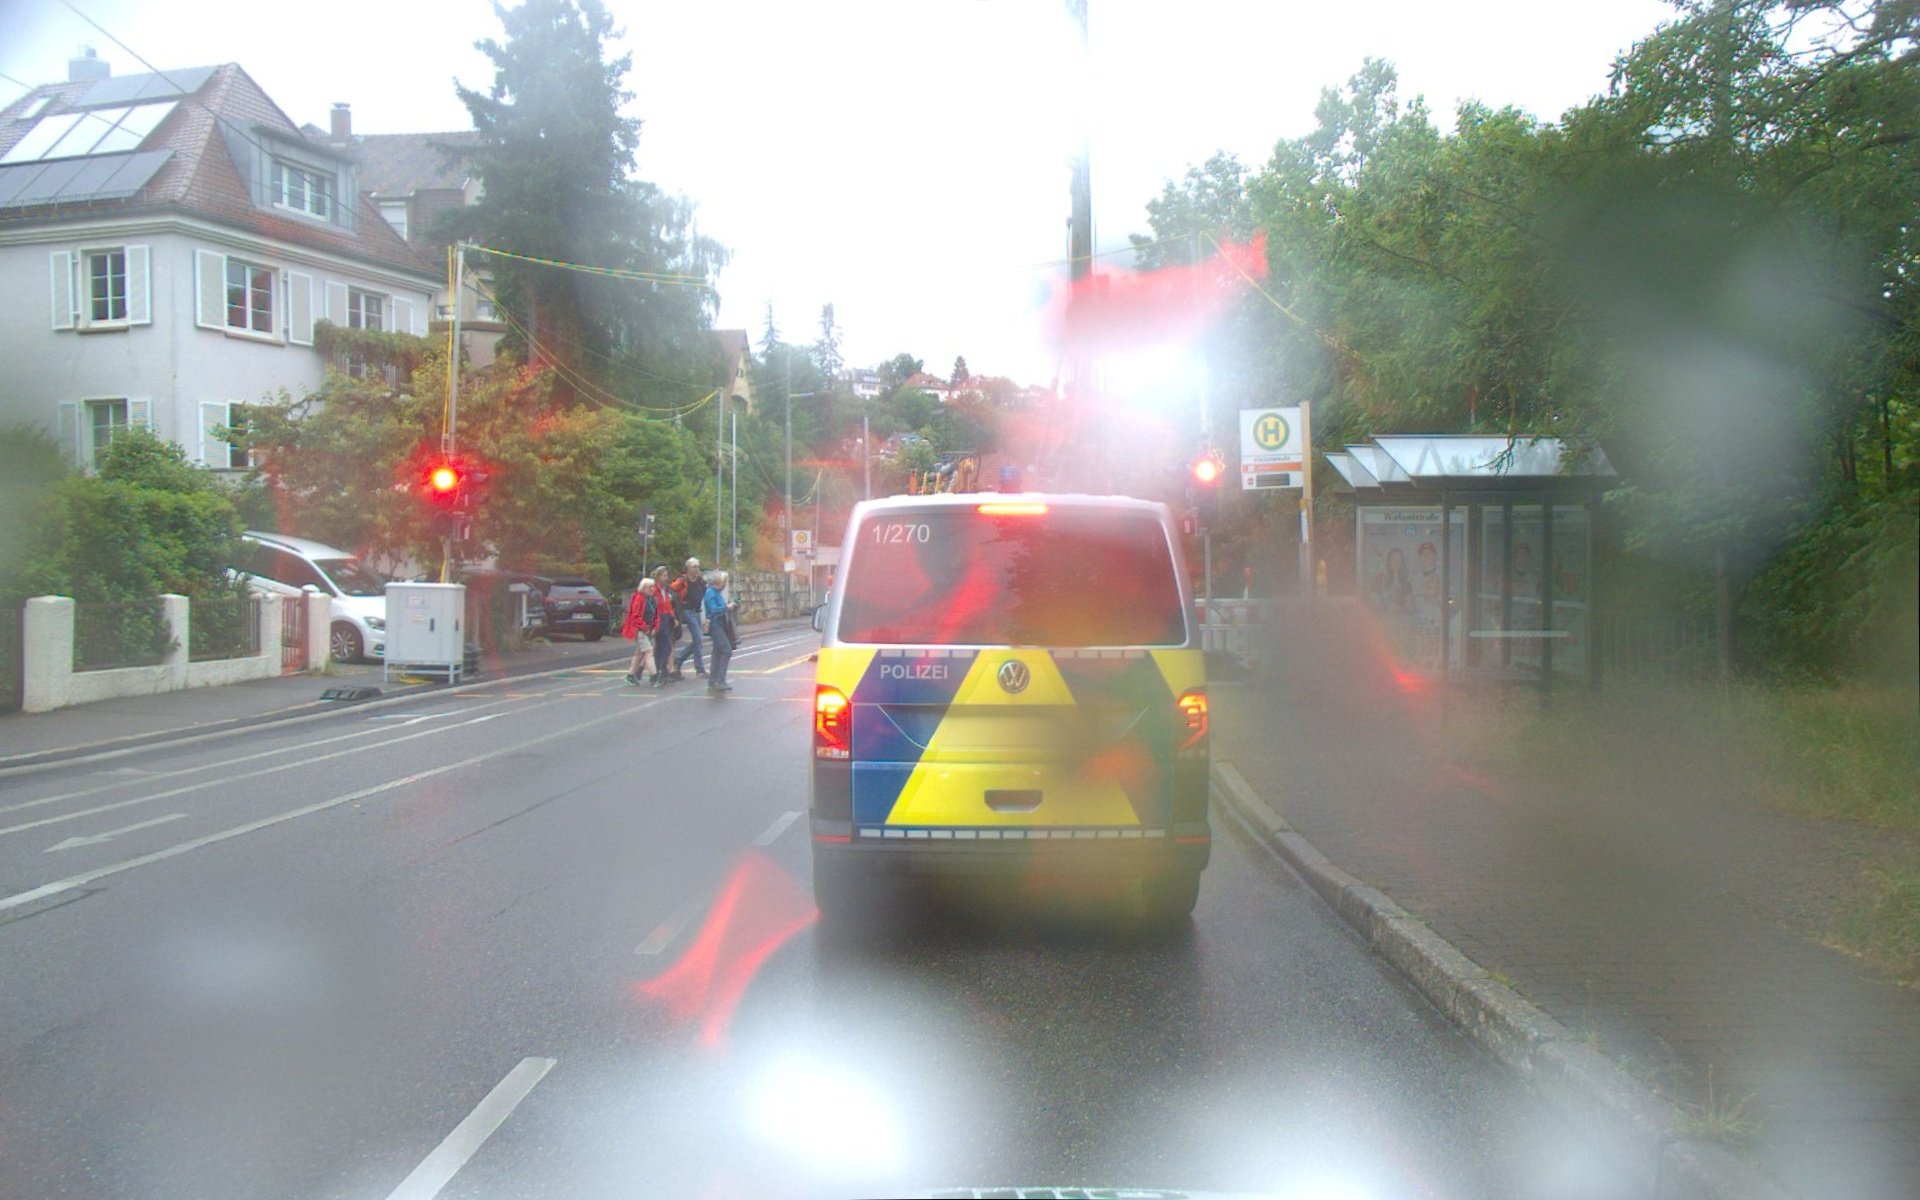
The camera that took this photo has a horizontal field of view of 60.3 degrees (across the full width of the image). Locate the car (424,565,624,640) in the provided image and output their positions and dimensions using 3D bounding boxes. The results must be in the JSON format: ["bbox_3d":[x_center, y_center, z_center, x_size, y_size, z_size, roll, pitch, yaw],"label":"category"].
[{"bbox_3d":[-9.710,0.076,36.970,3.902,1.512,1.761,2,-2,10],"label":"car"}]

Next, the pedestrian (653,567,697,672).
[{"bbox_3d":[-4.234,0.291,24.588,0.514,1.533,0.429,2,-2,1],"label":"pedestrian"}]

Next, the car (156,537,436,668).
[{"bbox_3d":[-10.934,0.020,27.355,3.902,2.049,1.832,1,0,11],"label":"car"}]

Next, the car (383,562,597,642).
[{"bbox_3d":[-9.859,0.056,34.819,3.902,1.512,1.761,2,-2,10],"label":"car"}]

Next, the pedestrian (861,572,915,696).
[{"bbox_3d":[-0.969,0.456,22.359,0.672,1.632,0.605,2,-2,-2],"label":"pedestrian"}]

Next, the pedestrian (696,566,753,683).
[{"bbox_3d":[-3.174,0.332,22.317,0.613,1.548,0.593,2,-2,1],"label":"pedestrian"}]

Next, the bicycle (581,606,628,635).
[{"bbox_3d":[-8.571,0.499,39.890,1.031,0.674,0.320,2,-2,10],"label":"bicycle"}]

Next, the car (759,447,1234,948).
[{"bbox_3d":[0.302,0.364,9.056,1.951,2.049,4.404,1,1,4],"label":"car"}]

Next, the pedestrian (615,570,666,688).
[{"bbox_3d":[-4.434,0.402,23.000,0.551,1.610,0.468,2,-2,1],"label":"pedestrian"}]

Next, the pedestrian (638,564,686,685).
[{"bbox_3d":[-4.236,0.350,23.511,0.537,1.697,0.414,2,-2,1],"label":"pedestrian"}]

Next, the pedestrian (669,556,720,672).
[{"bbox_3d":[-4.081,0.221,25.448,0.613,1.745,0.593,2,-2,1],"label":"pedestrian"}]
